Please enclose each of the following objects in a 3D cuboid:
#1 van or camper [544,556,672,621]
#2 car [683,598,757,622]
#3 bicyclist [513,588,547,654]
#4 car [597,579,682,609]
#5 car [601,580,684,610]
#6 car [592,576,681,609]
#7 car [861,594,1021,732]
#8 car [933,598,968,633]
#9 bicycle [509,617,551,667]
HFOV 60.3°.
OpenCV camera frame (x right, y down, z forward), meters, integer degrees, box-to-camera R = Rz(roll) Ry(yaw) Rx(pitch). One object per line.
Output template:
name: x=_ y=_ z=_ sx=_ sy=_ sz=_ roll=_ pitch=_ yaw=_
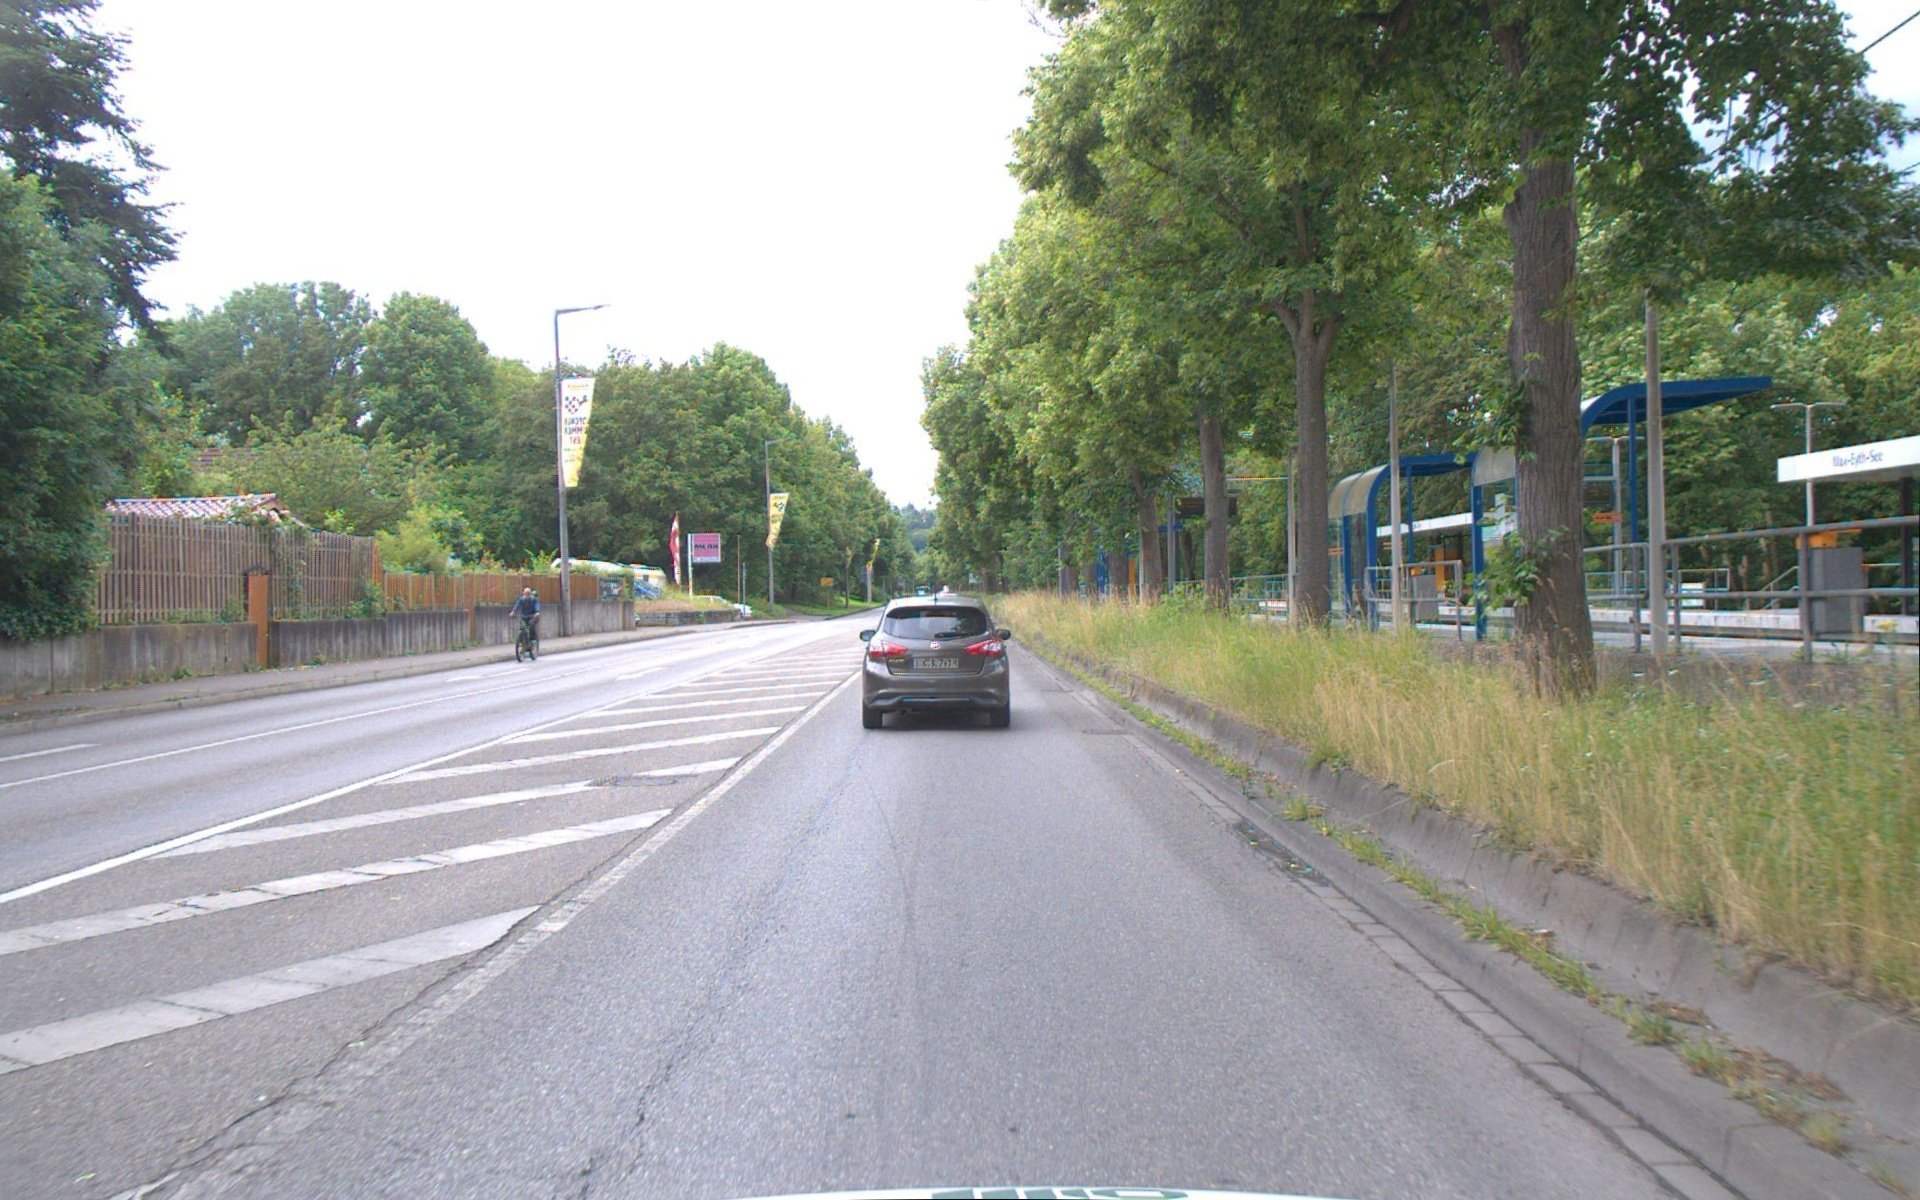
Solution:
van or camper: x=-21.446 y=-0.698 z=101.116 sx=6.997 sy=3.429 sz=2.796 roll=4 pitch=0 yaw=-1
car: x=-14.677 y=0.611 z=101.383 sx=4.287 sy=1.466 sz=1.960 roll=0 pitch=0 yaw=-3
bicyclist: x=-10.446 y=0.503 z=40.180 sx=0.629 sy=1.562 sz=0.977 roll=1 pitch=0 yaw=-5
car: x=-16.092 y=-0.287 z=83.054 sx=3.903 sy=1.436 sz=1.534 roll=0 pitch=-1 yaw=4
car: x=-16.294 y=-0.257 z=85.010 sx=3.903 sy=1.518 sz=1.648 roll=0 pitch=-1 yaw=4
car: x=-15.858 y=-0.357 z=81.187 sx=3.903 sy=1.523 sz=1.860 roll=0 pitch=-1 yaw=4
car: x=-0.168 y=0.717 z=20.619 sx=1.799 sy=1.555 sz=3.929 roll=0 pitch=0 yaw=1
car: x=-0.428 y=0.692 z=75.407 sx=1.472 sy=1.555 sz=3.672 roll=0 pitch=0 yaw=1
bicycle: x=-10.476 y=1.015 z=40.347 sx=0.629 sy=1.165 sz=2.145 roll=1 pitch=0 yaw=-5
